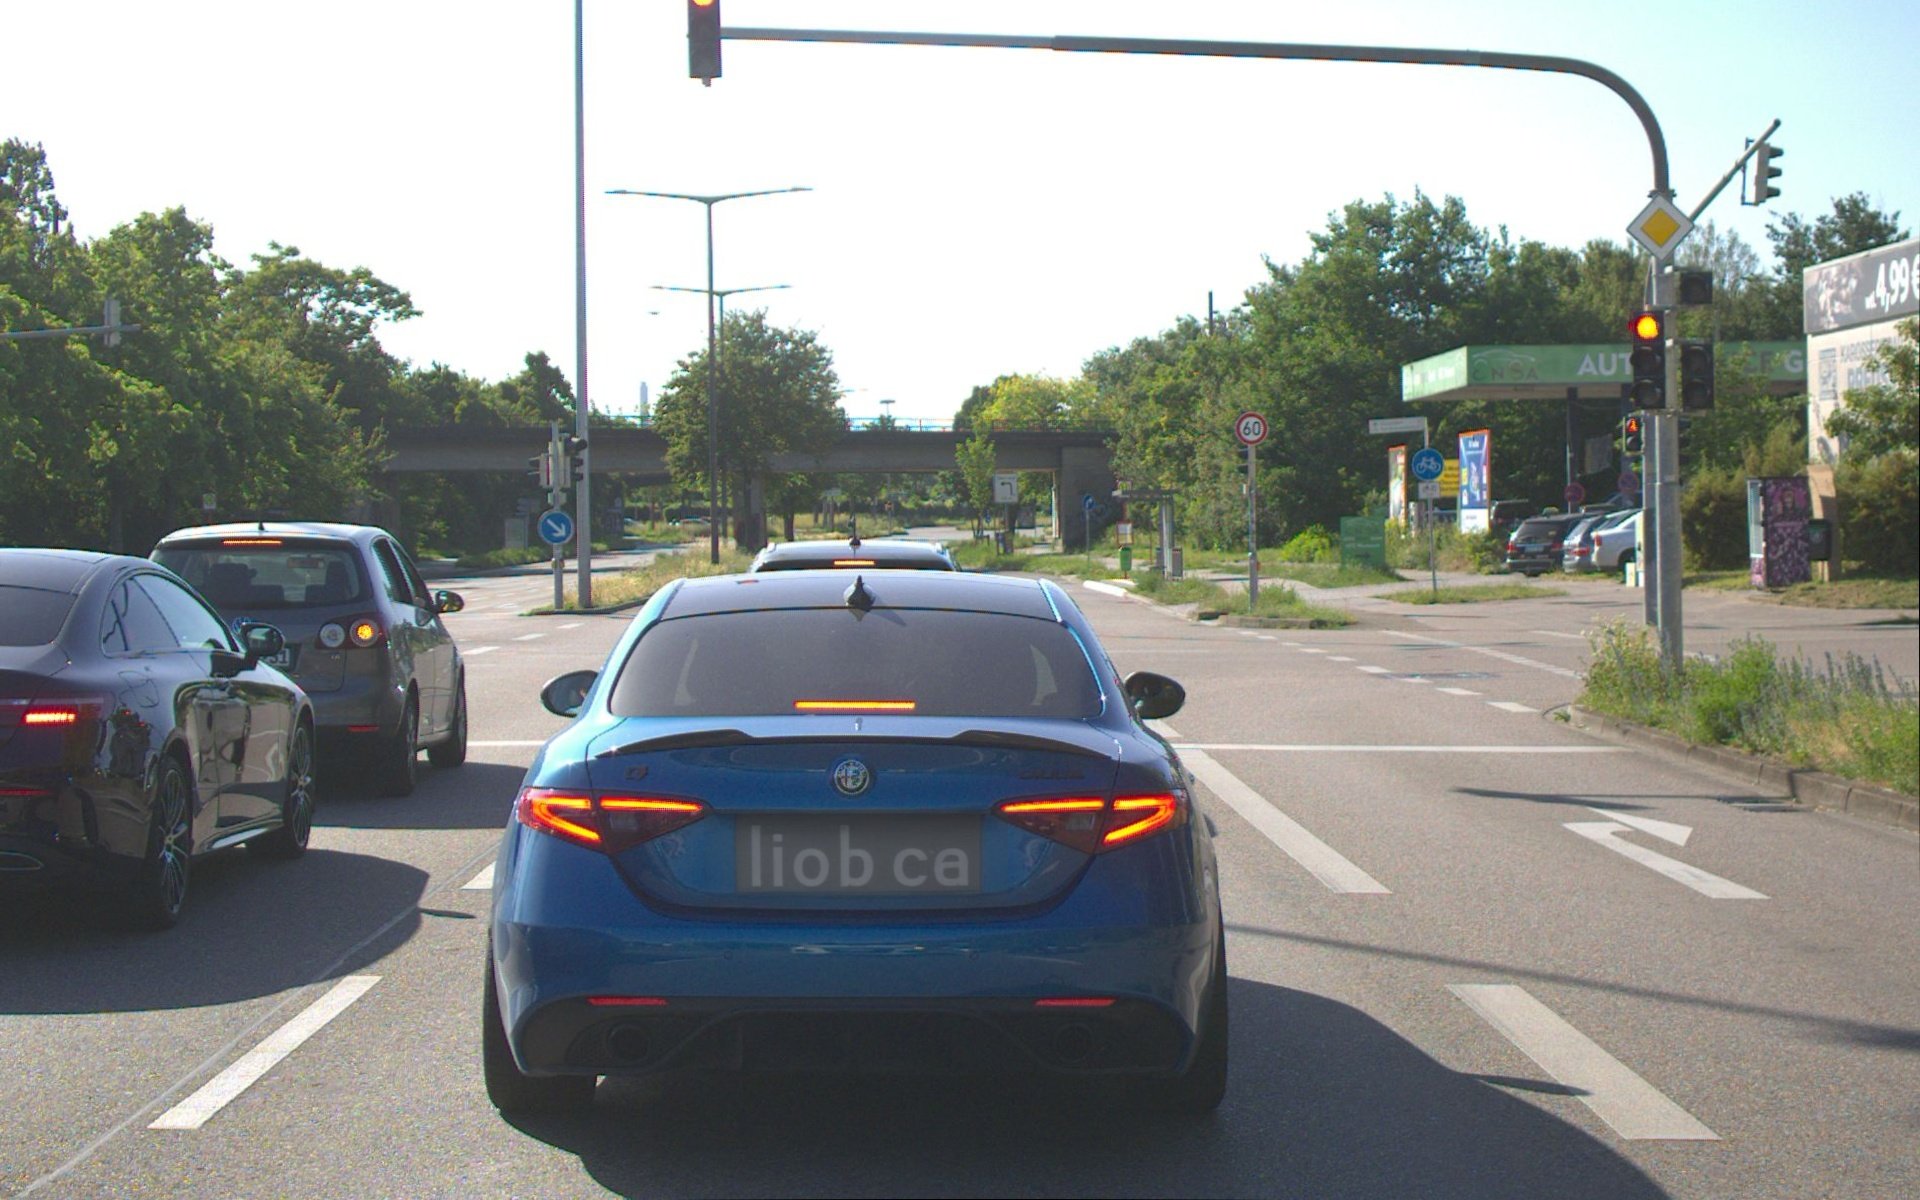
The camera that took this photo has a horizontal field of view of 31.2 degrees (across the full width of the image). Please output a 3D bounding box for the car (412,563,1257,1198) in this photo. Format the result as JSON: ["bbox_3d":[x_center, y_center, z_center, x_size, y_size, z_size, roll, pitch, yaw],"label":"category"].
[{"bbox_3d":[-0.252,0.622,9.706,1.910,1.418,3.719,1,0,1],"label":"car"}]

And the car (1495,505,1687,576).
[{"bbox_3d":[14.311,-1.349,78.132,3.987,1.547,2.000,1,0,1],"label":"car"}]

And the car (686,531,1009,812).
[{"bbox_3d":[-0.584,0.369,20.432,1.704,1.492,3.719,1,0,1],"label":"car"}]

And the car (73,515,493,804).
[{"bbox_3d":[-3.978,0.304,20.885,1.812,1.546,4.354,1,0,-2],"label":"car"}]

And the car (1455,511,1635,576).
[{"bbox_3d":[14.752,-1.414,86.755,3.986,1.547,2.001,1,0,-17],"label":"car"}]

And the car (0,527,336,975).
[{"bbox_3d":[-3.842,0.473,14.136,1.812,1.546,4.544,0,1,-1],"label":"car"}]
